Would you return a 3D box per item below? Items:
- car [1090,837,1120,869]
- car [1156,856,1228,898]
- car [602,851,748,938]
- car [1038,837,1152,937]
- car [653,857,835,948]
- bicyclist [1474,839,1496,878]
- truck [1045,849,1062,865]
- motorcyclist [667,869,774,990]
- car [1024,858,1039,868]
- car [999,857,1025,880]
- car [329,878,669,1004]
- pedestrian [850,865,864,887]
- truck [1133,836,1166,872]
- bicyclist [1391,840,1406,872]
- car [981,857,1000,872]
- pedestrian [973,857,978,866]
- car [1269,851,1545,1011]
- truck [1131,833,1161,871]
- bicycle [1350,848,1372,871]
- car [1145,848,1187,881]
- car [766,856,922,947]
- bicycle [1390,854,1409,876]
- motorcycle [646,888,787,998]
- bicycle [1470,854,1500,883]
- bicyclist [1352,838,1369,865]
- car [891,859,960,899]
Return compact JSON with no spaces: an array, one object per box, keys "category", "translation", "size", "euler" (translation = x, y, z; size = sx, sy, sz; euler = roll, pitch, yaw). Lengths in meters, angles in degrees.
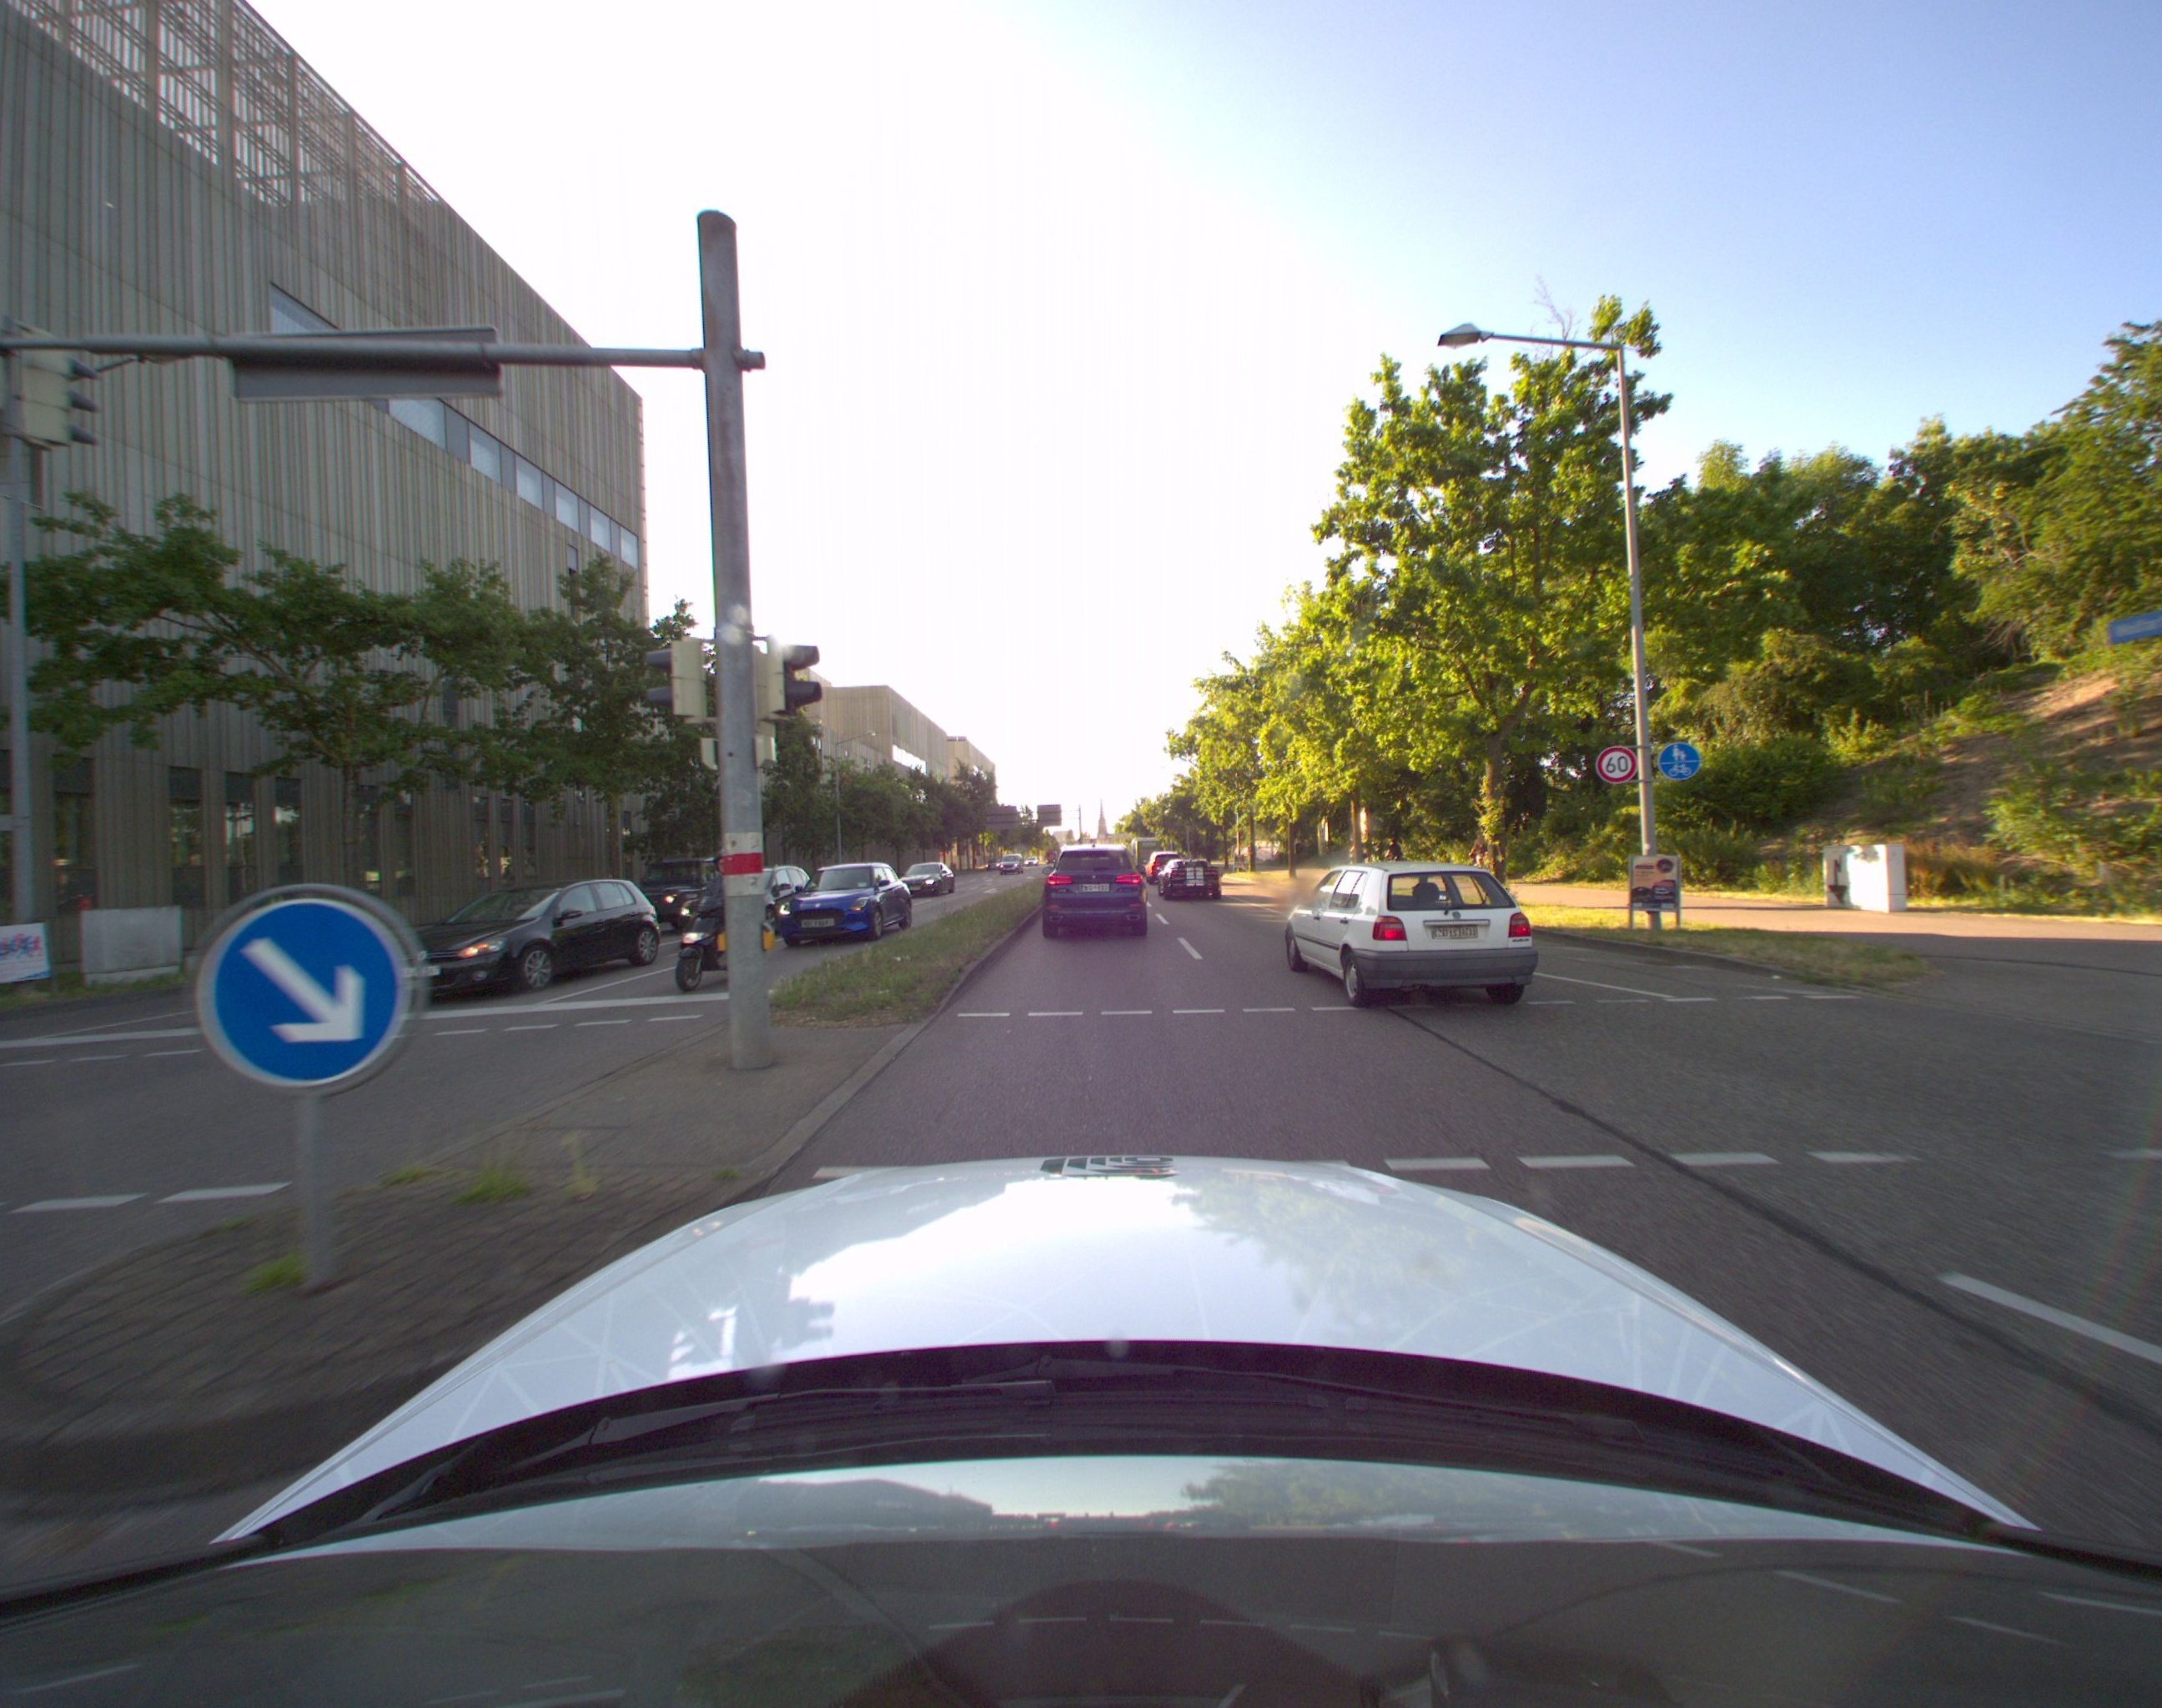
[{"category":"car","translation":[2.046,-0.034,69.907],"size":[2.132,2.576,5.080],"euler":[-1,-1,-3]},{"category":"car","translation":[3.697,0.749,27.714],"size":[1.986,1.295,4.001],"euler":[-1,-1,1]},{"category":"car","translation":[-10.877,0.988,22.181],"size":[1.789,1.978,3.994],"euler":[-5,0,0]},{"category":"car","translation":[0.312,0.630,16.644],"size":[1.986,1.734,4.534],"euler":[-1,-1,2]},{"category":"car","translation":[-7.369,0.995,18.422],"size":[1.987,1.591,4.714],"euler":[-6,-1,0]},{"category":"bicyclist","translation":[13.212,0.149,26.652],"size":[0.426,1.233,0.460],"euler":[-3,-1,1]},{"category":"truck","translation":[-7.489,0.860,222.146],"size":[3.975,4.088,11.447],"euler":[-1,-1,0]},{"category":"motorcyclist","translation":[-4.558,0.920,10.391],"size":[0.796,1.349,1.272],"euler":[-4,1,-5]},{"category":"car","translation":[-7.763,1.447,128.420],"size":[1.987,1.452,4.714],"euler":[-6,-1,0]},{"category":"car","translation":[-6.239,1.310,73.760],"size":[1.751,1.777,4.494],"euler":[-6,-1,0]},{"category":"car","translation":[-8.076,1.112,11.906],"size":[1.987,1.475,4.080],"euler":[0,-1,0]},{"category":"pedestrian","translation":[-20.703,2.052,75.334],"size":[1.015,2.014,0.962],"euler":[-1,-1,1]},{"category":"truck","translation":[4.642,0.033,55.778],"size":[1.989,2.315,4.001],"euler":[-1,-1,1]},{"category":"bicyclist","translation":[13.474,0.090,34.584],"size":[0.426,1.309,0.460],"euler":[-1,-1,1]},{"category":"car","translation":[-11.656,1.389,105.479],"size":[1.751,1.705,4.494],"euler":[-6,-1,0]},{"category":"pedestrian","translation":[-18.549,1.318,142.999],"size":[0.624,1.522,0.719],"euler":[-1,-1,4]},{"category":"car","translation":[3.404,0.726,9.359],"size":[1.573,1.413,4.062],"euler":[-1,-1,1]},{"category":"truck","translation":[4.794,-0.123,60.674],"size":[1.989,2.669,4.001],"euler":[-1,-1,1]},{"category":"bicycle","translation":[13.670,0.270,39.774],"size":[0.562,1.112,1.622],"euler":[-1,-1,2]},{"category":"car","translation":[4.231,0.558,41.153],"size":[1.789,1.559,4.001],"euler":[-1,-1,2]},{"category":"car","translation":[-4.556,0.864,16.267],"size":[1.695,1.452,3.860],"euler":[-6,-1,3]},{"category":"bicycle","translation":[13.485,0.463,34.508],"size":[0.436,0.914,1.027],"euler":[-1,-1,2]},{"category":"motorcycle","translation":[-4.558,1.056,10.420],"size":[0.838,1.076,2.396],"euler":[-4,0,-5]},{"category":"bicycle","translation":[13.222,0.465,26.676],"size":[0.436,0.914,1.027],"euler":[-4,-1,2]},{"category":"bicyclist","translation":[13.663,-0.102,39.840],"size":[0.541,1.316,0.835],"euler":[-1,-1,1]},{"category":"car","translation":[-6.843,1.080,36.365],"size":[1.987,1.452,4.797],"euler":[-6,-1,0]}]
